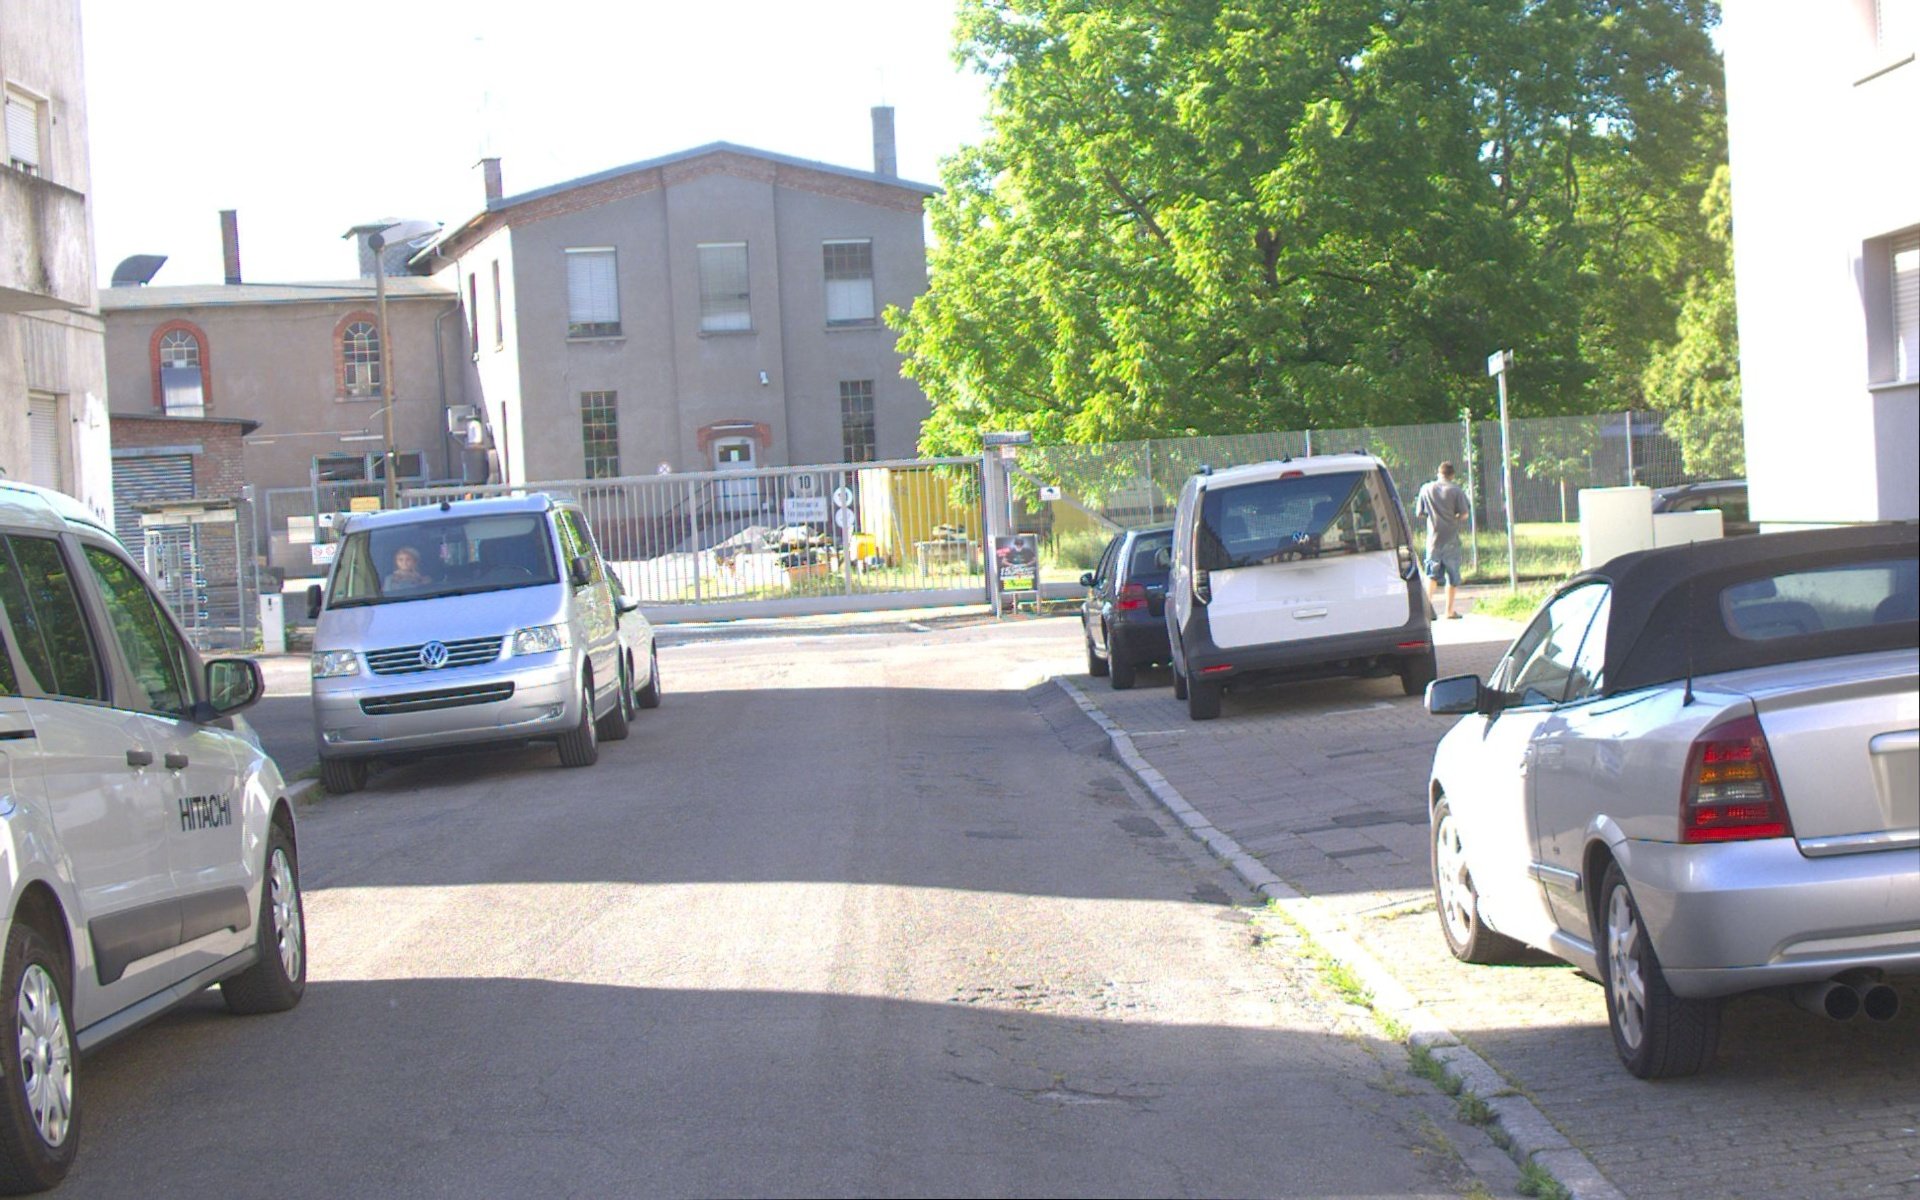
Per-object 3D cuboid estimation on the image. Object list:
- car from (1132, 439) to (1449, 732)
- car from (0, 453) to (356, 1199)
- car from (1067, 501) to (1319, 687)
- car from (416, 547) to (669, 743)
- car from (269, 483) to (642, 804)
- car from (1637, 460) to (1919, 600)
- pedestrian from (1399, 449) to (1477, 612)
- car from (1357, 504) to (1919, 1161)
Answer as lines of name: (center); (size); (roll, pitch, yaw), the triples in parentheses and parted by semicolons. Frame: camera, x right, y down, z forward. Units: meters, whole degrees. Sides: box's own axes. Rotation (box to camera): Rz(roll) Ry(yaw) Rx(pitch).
car: (2.404, -0.161, 26.092); (1.798, 1.839, 4.539); (-6, 1, 1)
car: (-3.080, 0.624, 9.525); (1.800, 1.823, 4.949); (-6, 1, 0)
car: (2.074, -0.096, 31.674); (1.797, 1.410, 4.049); (-7, 1, -1)
car: (-3.680, 0.352, 30.838); (1.687, 1.454, 3.722); (-5, 2, 0)
car: (-3.543, 0.226, 25.052); (1.951, 1.926, 4.857); (-6, 2, -1)
car: (10.787, -0.911, 43.336); (4.072, 1.543, 1.623); (-3, 1, -2)
pedestrian: (5.357, -0.784, 38.491); (0.645, 1.765, 0.840); (-3, 2, 16)
car: (2.457, 0.489, 10.249); (1.742, 1.402, 4.315); (-6, 1, -2)
